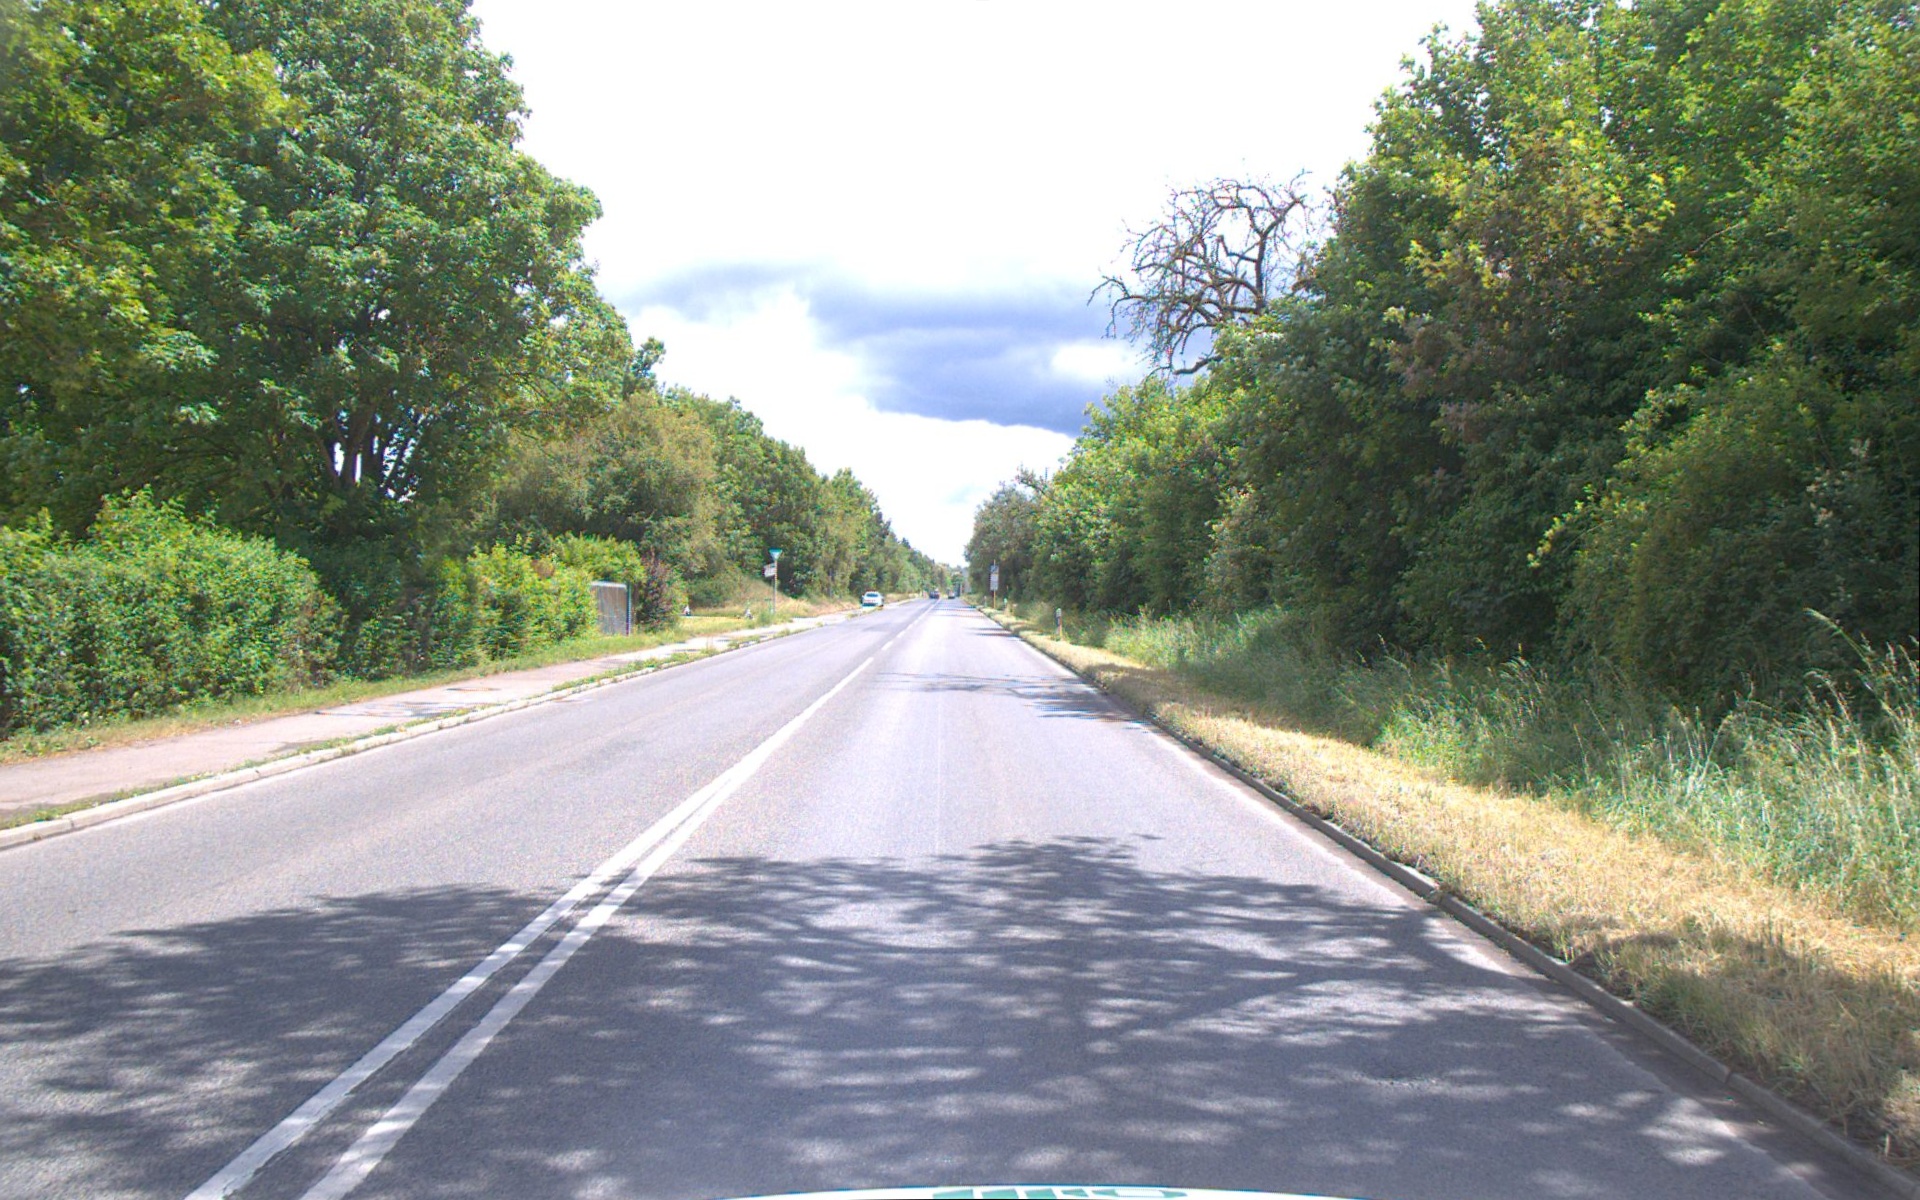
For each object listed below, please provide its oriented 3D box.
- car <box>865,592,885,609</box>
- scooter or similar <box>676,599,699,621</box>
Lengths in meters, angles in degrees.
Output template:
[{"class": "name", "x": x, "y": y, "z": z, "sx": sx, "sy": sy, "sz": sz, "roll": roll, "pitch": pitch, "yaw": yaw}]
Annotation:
[{"class": "car", "x": -8.197, "y": 0.034, "z": 159.999, "sx": 1.761, "sy": 1.570, "sz": 3.954, "roll": 0, "pitch": -1, "yaw": 0}, {"class": "scooter or similar", "x": -15.220, "y": 0.567, "z": 92.382, "sx": 1.217, "sy": 1.189, "sz": 0.407, "roll": 1, "pitch": 0, "yaw": 12}]
